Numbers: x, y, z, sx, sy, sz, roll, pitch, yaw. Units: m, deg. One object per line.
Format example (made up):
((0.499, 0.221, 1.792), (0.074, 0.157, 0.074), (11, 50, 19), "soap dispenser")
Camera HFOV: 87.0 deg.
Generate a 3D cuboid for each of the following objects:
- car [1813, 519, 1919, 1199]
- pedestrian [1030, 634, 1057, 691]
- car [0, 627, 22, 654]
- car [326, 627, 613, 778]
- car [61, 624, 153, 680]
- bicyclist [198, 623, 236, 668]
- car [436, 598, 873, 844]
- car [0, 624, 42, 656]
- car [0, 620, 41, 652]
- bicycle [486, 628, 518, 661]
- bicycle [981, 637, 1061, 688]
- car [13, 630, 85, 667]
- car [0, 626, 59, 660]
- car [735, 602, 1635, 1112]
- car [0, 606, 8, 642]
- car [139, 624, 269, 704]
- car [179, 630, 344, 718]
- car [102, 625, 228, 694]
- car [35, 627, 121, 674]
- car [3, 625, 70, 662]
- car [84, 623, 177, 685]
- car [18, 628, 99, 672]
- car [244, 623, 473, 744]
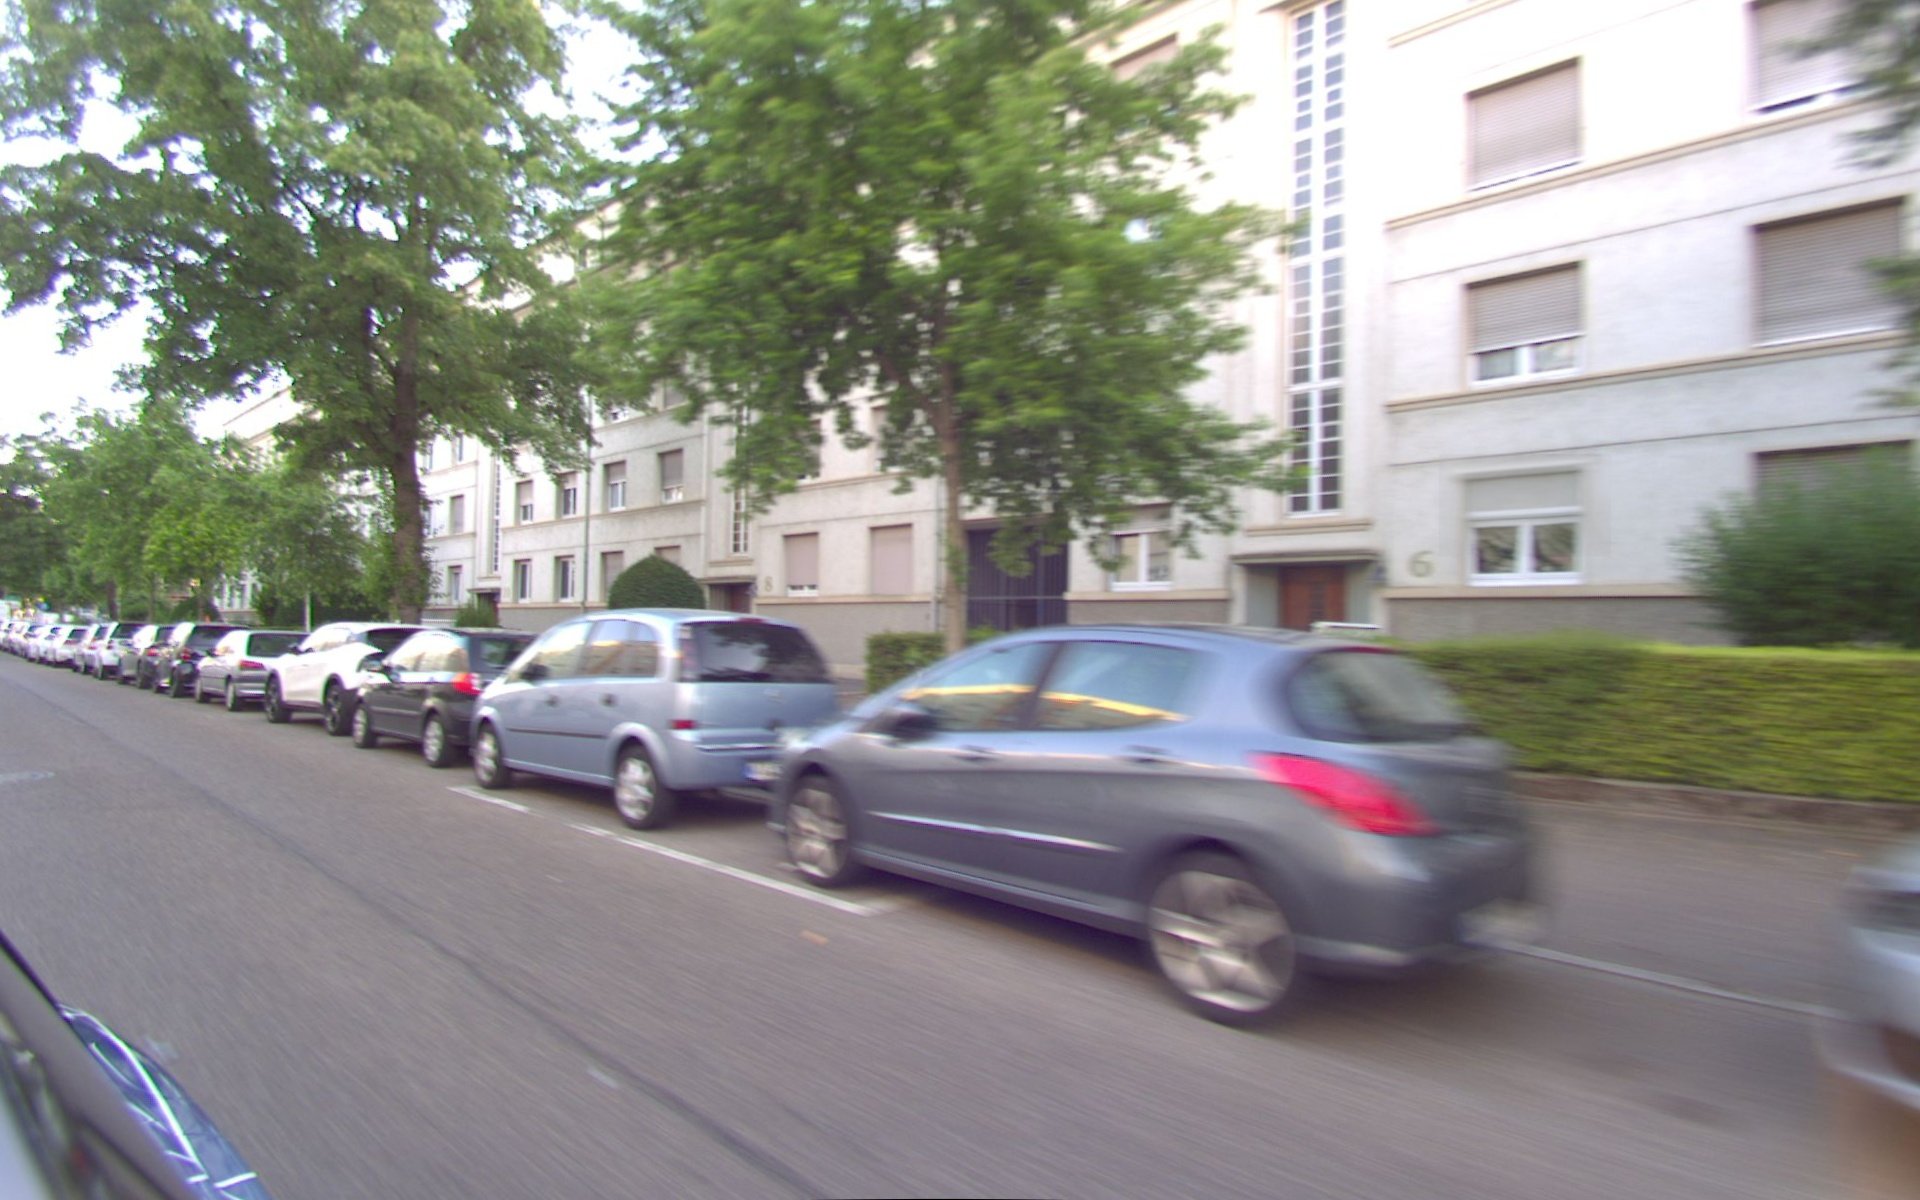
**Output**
((4.510, 0.689, 1.548), (4.857, 1.704, 1.827), (-1, -5, 41), "car")
((1.989, 1.487, 24.074), (0.545, 1.330, 0.596), (0, -2, -4), "pedestrian")
((-55.673, 2.278, 58.557), (4.225, 1.483, 1.732), (-1, -6, 44), "car")
((-5.823, 1.109, 11.820), (3.843, 1.463, 1.688), (-1, -6, 44), "car")
((-25.743, 1.550, 30.516), (3.799, 1.516, 1.573), (-1, -6, 43), "car")
((-24.036, 1.461, 32.735), (0.973, 1.415, 0.799), (-2, -2, 43), "bicyclist")
((-2.787, 0.899, 8.708), (4.117, 1.613, 1.688), (-1, -6, 43), "car")
((-48.421, 2.018, 51.876), (3.946, 1.491, 1.732), (-1, -6, 45), "car")
((-51.612, 1.953, 55.163), (4.106, 1.644, 1.734), (-1, -6, 42), "car")
((-17.656, 1.688, 39.005), (0.549, 1.240, 1.818), (2, -3, -44), "bicycle")
((1.454, 1.484, 24.188), (1.787, 1.181, 0.629), (1, -2, -9), "bicycle")
((-37.363, 1.964, 41.469), (4.579, 1.342, 1.656), (-1, -6, 42), "car")
((-44.500, 2.028, 48.187), (4.677, 1.491, 1.734), (-1, -6, 42), "car")
((0.726, 0.864, 5.193), (1.712, 1.508, 4.275), (5, -5, -42), "car")
((-69.612, 1.616, 71.997), (6.103, 2.480, 2.155), (-1, -6, 43), "car")
((-16.065, 1.334, 21.463), (3.163, 1.541, 1.507), (-1, -6, 42), "car")
((-12.926, 1.318, 18.628), (4.181, 1.414, 1.572), (-1, -6, 43), "car")
((-19.189, 1.407, 24.377), (4.100, 1.477, 1.573), (-1, -6, 42), "car")
((-30.317, 1.711, 34.752), (4.483, 1.471, 1.673), (-1, -6, 43), "car")
((-40.777, 1.905, 44.677), (3.703, 1.471, 1.657), (-1, -6, 41), "car")
((-22.624, 1.456, 27.571), (1.572, 1.541, 2.923), (7, -6, -44), "car")
((-33.789, 1.867, 37.911), (4.143, 1.471, 1.674), (-1, -6, 41), "car")
((-8.981, 1.171, 14.972), (4.204, 1.550, 1.573), (-1, -6, 41), "car")
